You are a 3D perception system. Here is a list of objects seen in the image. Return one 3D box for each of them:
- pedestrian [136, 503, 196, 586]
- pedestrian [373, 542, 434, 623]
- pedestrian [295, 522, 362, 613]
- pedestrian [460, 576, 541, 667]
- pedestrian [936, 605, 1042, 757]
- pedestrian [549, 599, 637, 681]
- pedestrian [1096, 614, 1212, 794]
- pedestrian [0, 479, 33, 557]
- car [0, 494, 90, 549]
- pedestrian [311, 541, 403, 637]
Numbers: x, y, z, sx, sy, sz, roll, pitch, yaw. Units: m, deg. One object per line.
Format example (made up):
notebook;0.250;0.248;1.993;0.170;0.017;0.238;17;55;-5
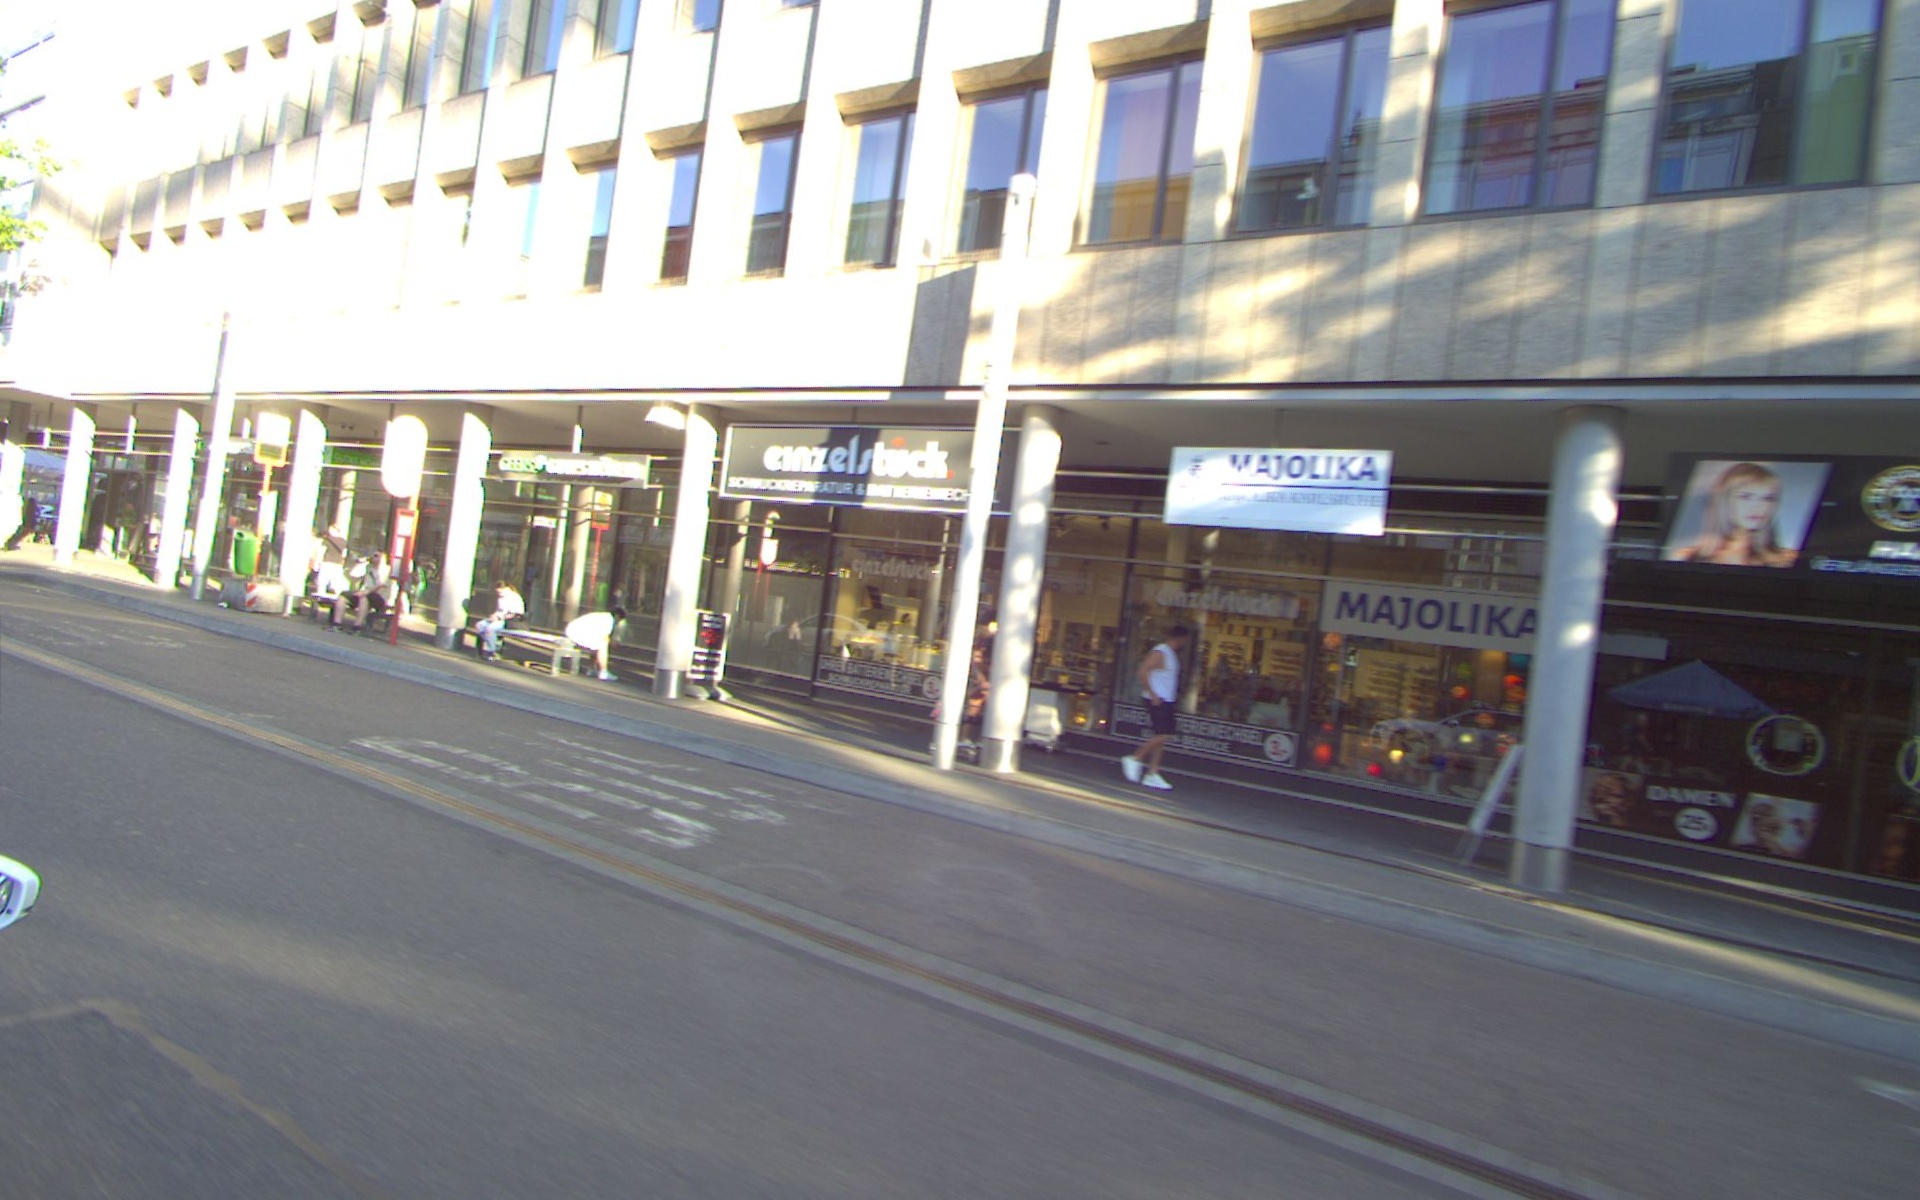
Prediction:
pedestrian;-17.306;-1.212;21.931;0.768;1.672;0.638;7;-1;32
pedestrian;-11.634;-0.358;21.035;0.783;1.560;0.644;7;-1;31
pedestrian;-13.240;-0.683;21.108;0.821;1.761;0.717;7;-1;31
pedestrian;-6.775;0.319;14.839;0.772;1.212;0.667;7;-1;36
pedestrian;0.362;0.993;12.412;0.843;1.720;0.745;7;-1;31
pedestrian;-5.259;0.576;14.441;0.685;1.042;0.837;7;-1;36
pedestrian;2.155;1.137;11.137;0.843;1.813;0.745;7;-1;31
pedestrian;-23.614;-2.047;24.857;1.016;1.836;0.701;7;3;31
car;-32.060;-2.774;33.843;1.620;1.490;3.813;7;-2;26
pedestrian;-9.735;-0.164;16.268;0.763;1.393;0.837;8;-1;9
